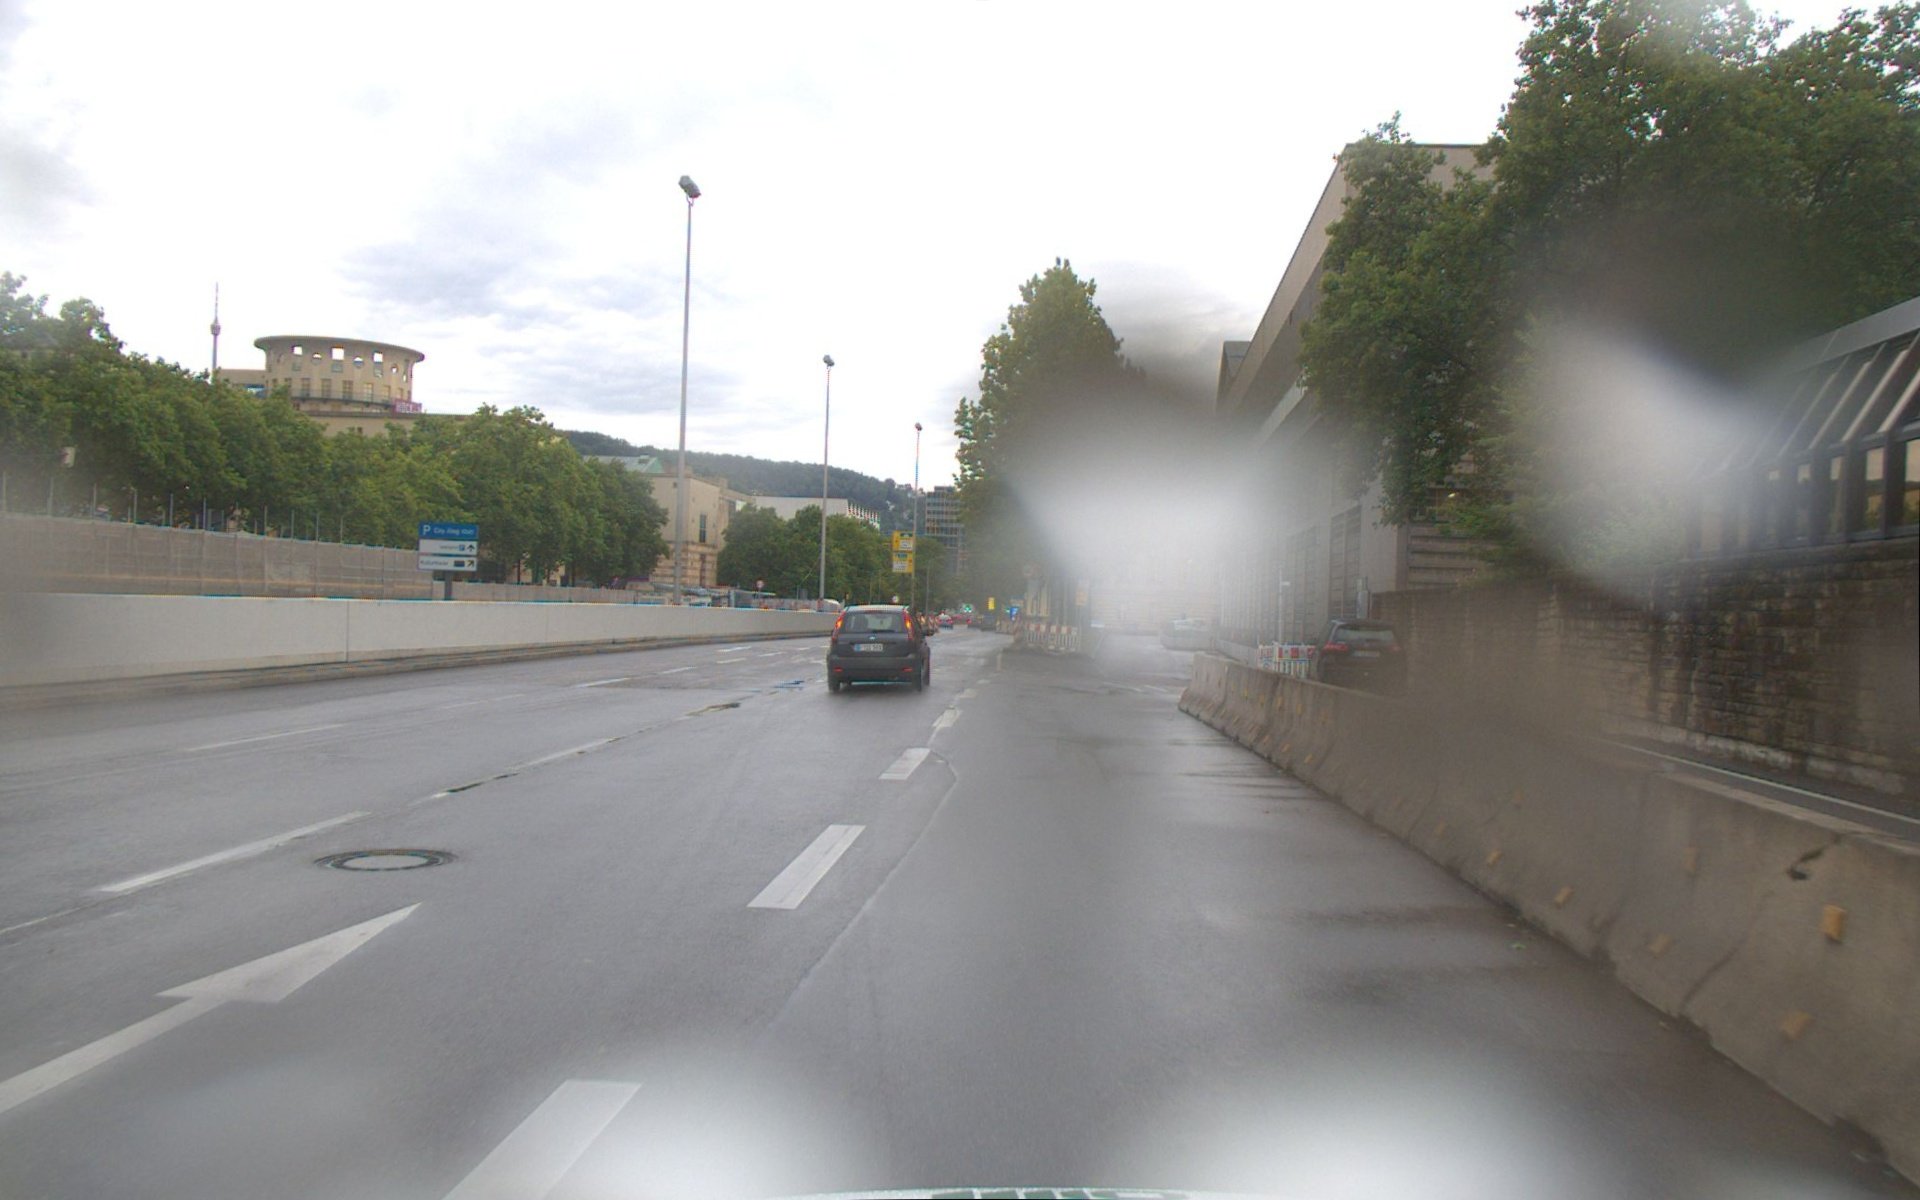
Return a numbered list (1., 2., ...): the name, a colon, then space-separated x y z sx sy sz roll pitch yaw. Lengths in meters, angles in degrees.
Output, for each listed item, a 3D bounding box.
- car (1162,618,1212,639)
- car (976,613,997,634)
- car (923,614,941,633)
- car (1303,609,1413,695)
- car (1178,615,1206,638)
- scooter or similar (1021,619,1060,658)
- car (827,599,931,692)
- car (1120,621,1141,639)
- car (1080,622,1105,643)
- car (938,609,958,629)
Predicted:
1. car: 18.462 2.346 134.676 3.903 1.587 1.934 0 -3 4
2. car: 2.796 2.462 174.669 1.952 2.048 4.002 3 0 3
3. car: -2.209 1.861 130.770 1.357 1.411 3.066 1 -1 -1
4. car: 8.249 1.034 34.605 1.766 1.579 4.329 3 0 8
5. car: 19.966 2.282 142.559 1.952 1.791 5.098 1 -2 4
6. scooter or similar: 2.975 1.421 60.696 1.327 1.308 0.619 4 -2 5
7. car: -1.425 0.743 29.064 1.637 1.452 3.755 3 0 -3
8. car: 17.662 3.108 170.914 1.951 1.738 4.002 3 -2 8
9. car: 12.071 2.891 149.960 1.951 1.738 4.003 3 0 8
10. car: -1.329 2.115 183.140 1.953 2.049 3.998 4 -2 -1
